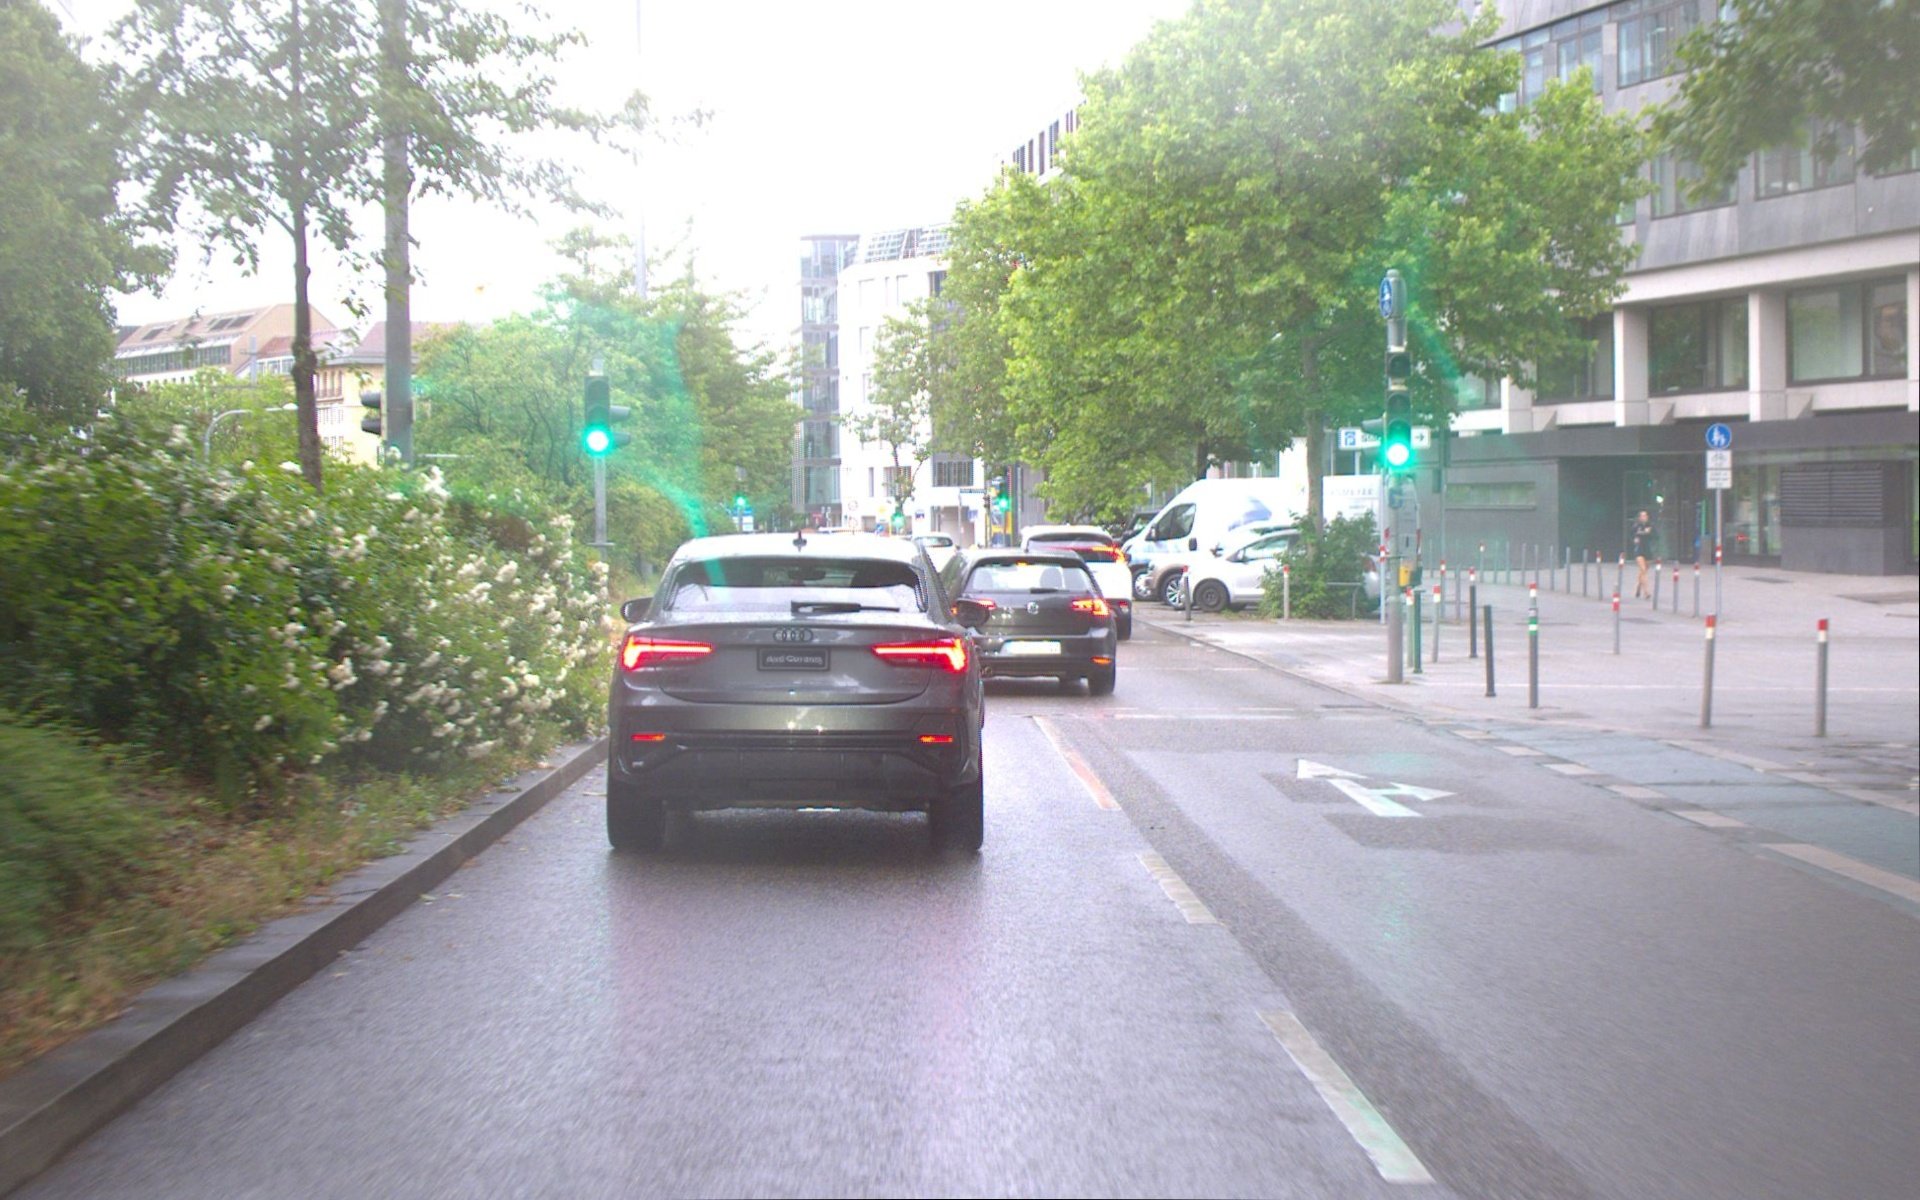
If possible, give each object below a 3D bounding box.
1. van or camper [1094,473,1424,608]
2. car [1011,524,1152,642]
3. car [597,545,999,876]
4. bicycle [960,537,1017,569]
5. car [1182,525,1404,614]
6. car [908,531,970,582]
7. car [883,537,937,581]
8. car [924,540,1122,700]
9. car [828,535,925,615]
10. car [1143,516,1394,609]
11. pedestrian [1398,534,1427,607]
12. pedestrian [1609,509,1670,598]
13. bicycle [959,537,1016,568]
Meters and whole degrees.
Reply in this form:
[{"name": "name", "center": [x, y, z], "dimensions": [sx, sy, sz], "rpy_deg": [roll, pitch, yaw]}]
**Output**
[{"name": "van or camper", "center": [5.826, -1.153, 67.208], "dimensions": [6.074, 2.549, 2.102], "rpy_deg": [0, 1, 26]}, {"name": "car", "center": [1.756, -0.279, 50.783], "dimensions": [1.849, 1.663, 4.039], "rpy_deg": [0, 1, -1]}, {"name": "car", "center": [-0.815, 0.482, 17.929], "dimensions": [1.849, 1.518, 4.039], "rpy_deg": [0, 1, -2]}, {"name": "bicycle", "center": [1.191, -1.970, 143.654], "dimensions": [2.337, 1.308, 0.710], "rpy_deg": [0, 1, -8]}, {"name": "car", "center": [5.940, -0.558, 61.243], "dimensions": [3.652, 1.542, 1.713], "rpy_deg": [1, 1, 18]}, {"name": "car", "center": [-0.668, -1.354, 105.925], "dimensions": [1.849, 1.518, 4.039], "rpy_deg": [0, 1, -1]}, {"name": "car", "center": [-1.771, -1.470, 121.379], "dimensions": [1.849, 1.518, 4.039], "rpy_deg": [0, 1, -1]}, {"name": "car", "center": [0.579, 0.159, 34.902], "dimensions": [1.849, 1.518, 4.039], "rpy_deg": [0, 1, -1]}, {"name": "car", "center": [-1.636, -0.512, 67.878], "dimensions": [1.849, 1.518, 4.039], "rpy_deg": [0, 1, -1]}, {"name": "car", "center": [5.732, -0.706, 63.925], "dimensions": [4.262, 1.662, 1.816], "rpy_deg": [1, 1, 25]}, {"name": "pedestrian", "center": [11.198, -0.730, 85.162], "dimensions": [0.553, 1.799, 0.762], "rpy_deg": [1, 0, -4]}, {"name": "pedestrian", "center": [13.074, -0.890, 66.144], "dimensions": [0.805, 1.690, 1.188], "rpy_deg": [1, 1, -7]}, {"name": "bicycle", "center": [1.174, -2.014, 145.695], "dimensions": [2.337, 1.308, 0.710], "rpy_deg": [0, 1, -8]}]
